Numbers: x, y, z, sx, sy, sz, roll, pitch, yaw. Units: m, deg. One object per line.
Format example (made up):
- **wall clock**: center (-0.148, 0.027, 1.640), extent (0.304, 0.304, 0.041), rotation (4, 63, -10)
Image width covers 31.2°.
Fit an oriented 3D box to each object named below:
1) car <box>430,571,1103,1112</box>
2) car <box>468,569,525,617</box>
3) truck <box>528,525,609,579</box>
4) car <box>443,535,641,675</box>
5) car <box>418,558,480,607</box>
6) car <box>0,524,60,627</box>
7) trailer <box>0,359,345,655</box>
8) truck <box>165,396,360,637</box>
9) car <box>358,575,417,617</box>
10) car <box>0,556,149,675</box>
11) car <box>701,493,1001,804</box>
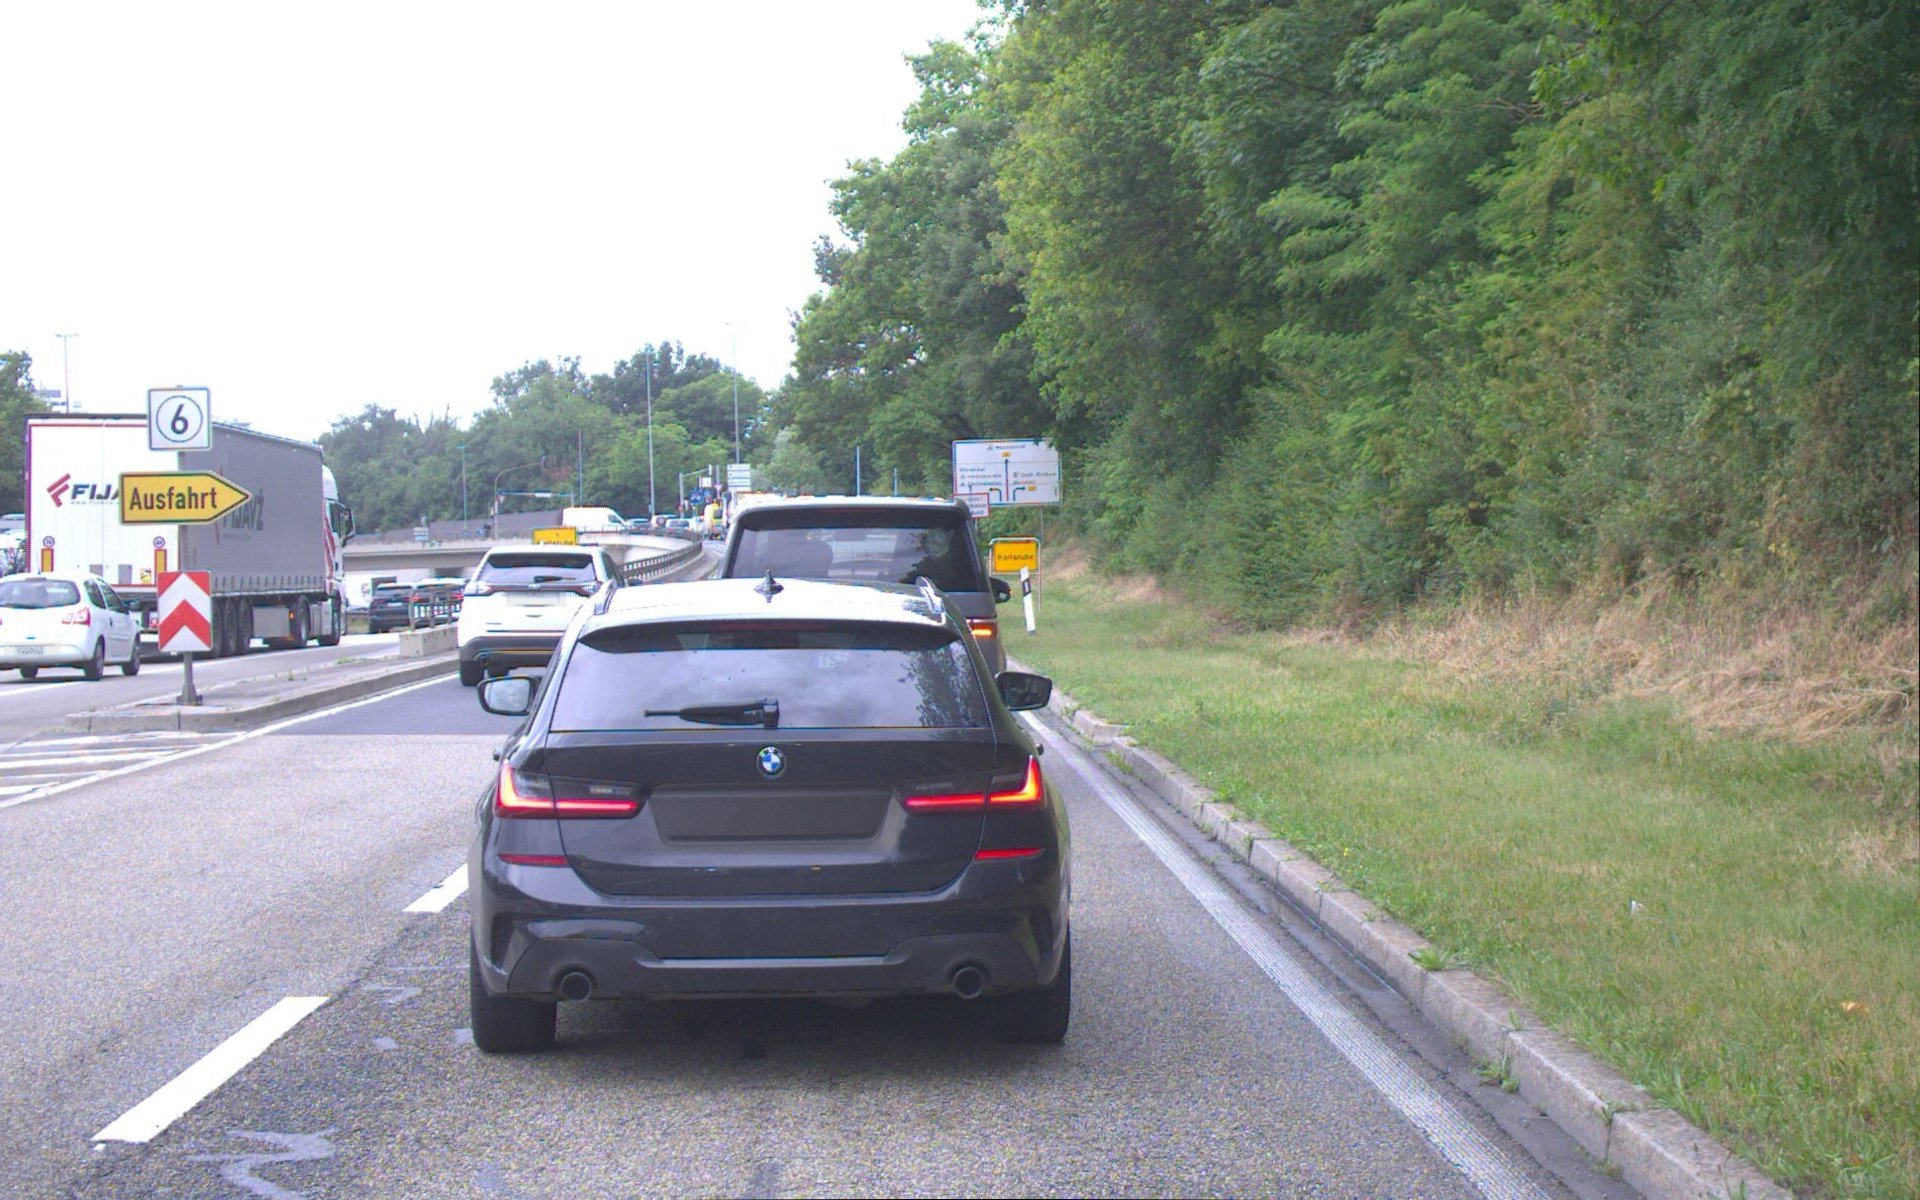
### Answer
- **car**: center (-0.636, 0.647, 11.482), extent (1.846, 1.462, 4.001), rotation (0, 1, -3)
- **car**: center (-15.108, -0.243, 112.062), extent (1.448, 1.485, 3.062), rotation (-1, 1, -1)
- **truck**: center (-18.957, -2.315, 166.876), extent (3.274, 2.500, 7.661), rotation (-1, 1, -2)
- **car**: center (-5.026, 0.028, 41.759), extent (1.930, 1.590, 3.877), rotation (-1, 1, 0)
- **car**: center (-15.023, -0.540, 101.163), extent (1.377, 1.393, 3.062), rotation (-1, 1, -1)
- **car**: center (-19.356, -0.500, 69.365), extent (1.443, 2.037, 3.680), rotation (-1, 1, -1)
- **trailer**: center (-13.923, -1.555, 62.146), extent (3.132, 4.709, 14.559), rotation (0, 1, -1)
- **truck**: center (-13.986, -1.643, 69.233), extent (3.083, 4.681, 4.232), rotation (0, 0, -1)
- **car**: center (-20.152, -0.155, 121.148), extent (1.593, 1.427, 3.062), rotation (-1, 1, -1)
- **car**: center (-12.356, 0.185, 47.128), extent (1.768, 1.544, 3.493), rotation (-1, 1, -3)
- **car**: center (-0.700, 0.265, 22.673), extent (1.796, 1.865, 4.000), rotation (0, 1, -1)
